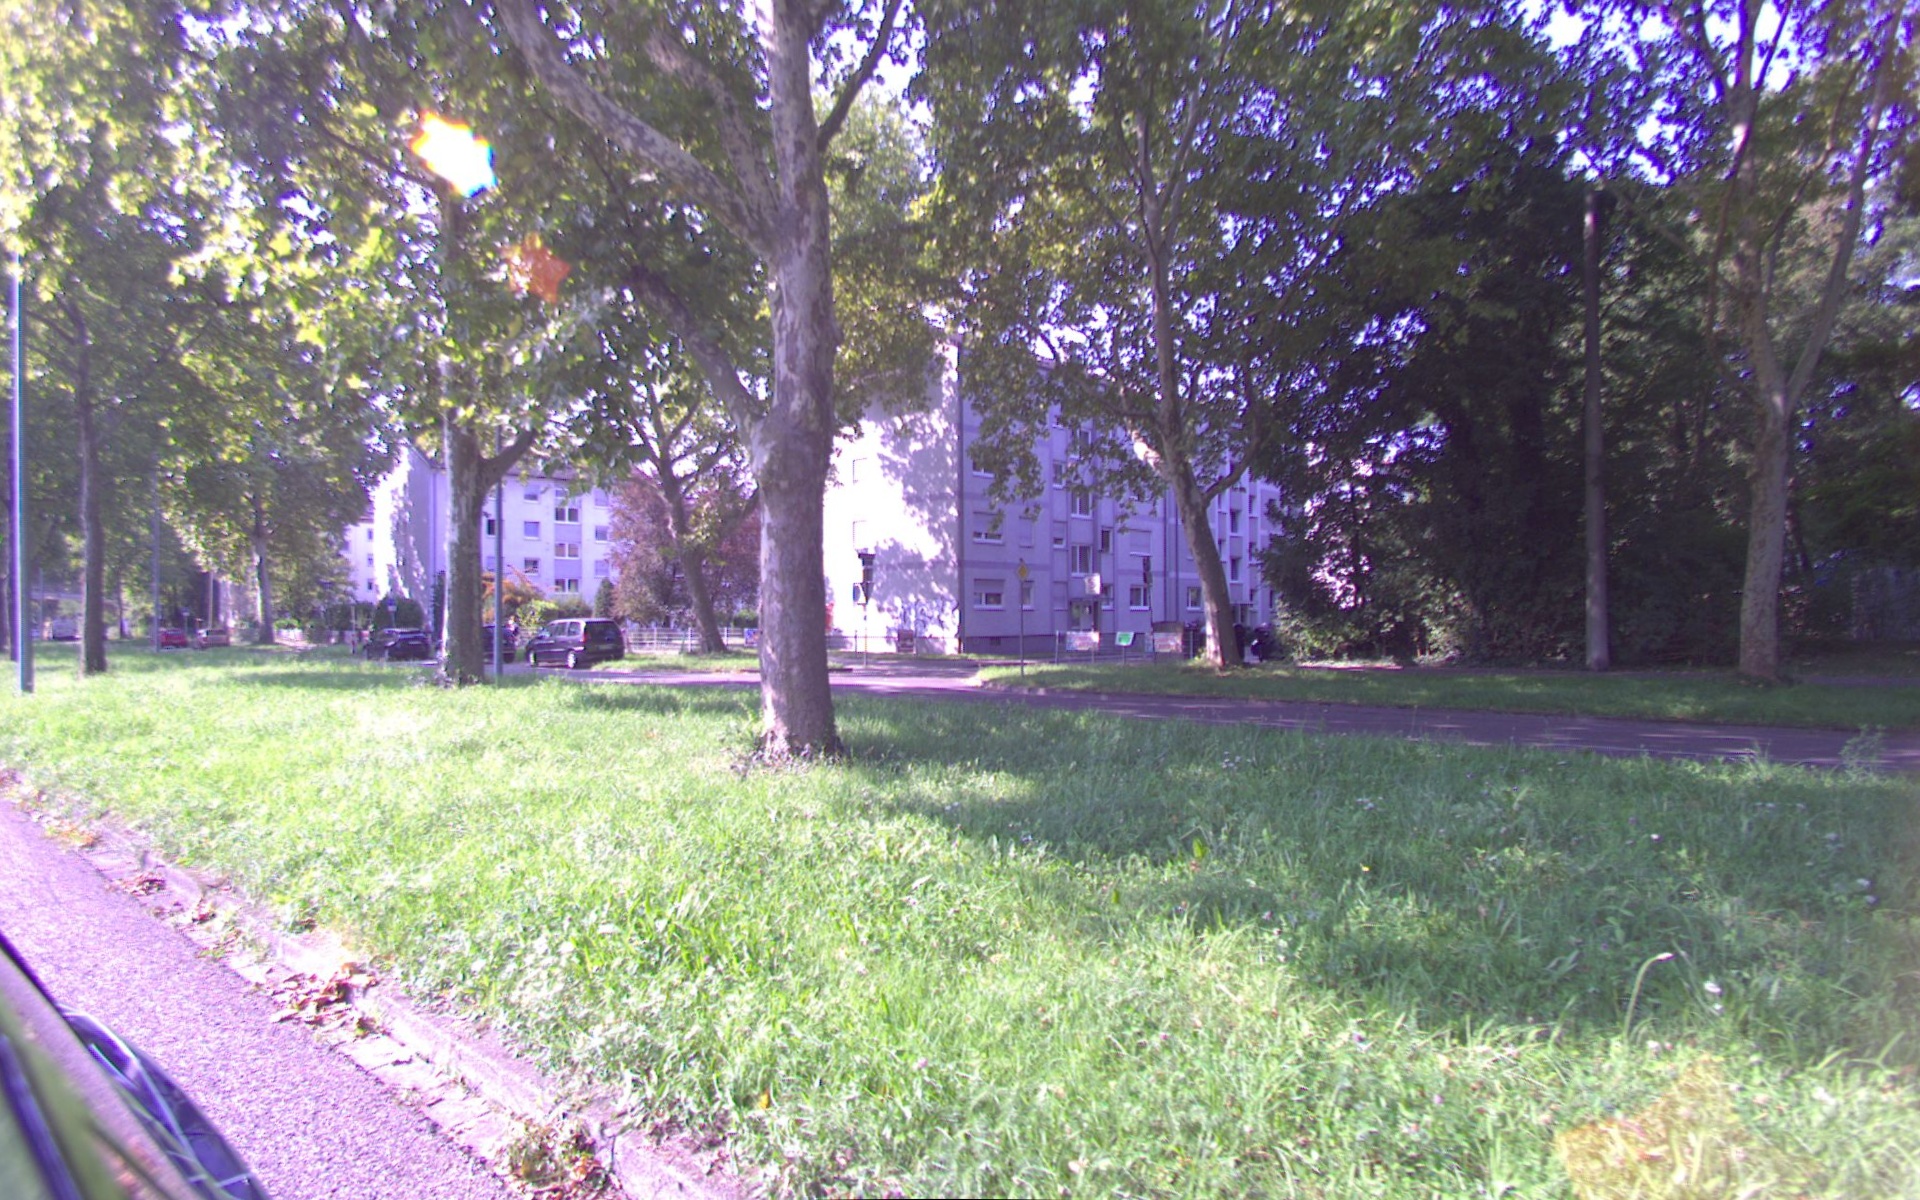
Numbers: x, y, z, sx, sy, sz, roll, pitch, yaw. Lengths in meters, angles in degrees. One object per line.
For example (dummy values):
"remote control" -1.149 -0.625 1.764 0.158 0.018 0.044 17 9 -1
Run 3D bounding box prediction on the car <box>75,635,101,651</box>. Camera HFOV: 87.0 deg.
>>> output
"car" -86.475 4.267 100.345 3.862 1.544 1.506 -1 -2 42

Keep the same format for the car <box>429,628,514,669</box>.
"car" -19.878 1.932 41.109 3.998 1.580 1.681 -2 -2 41

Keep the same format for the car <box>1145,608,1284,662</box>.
"car" 8.724 1.192 34.965 1.677 1.739 4.392 0 -1 -44

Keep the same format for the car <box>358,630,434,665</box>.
"car" -26.302 2.218 47.145 4.538 1.519 1.681 -3 -2 41

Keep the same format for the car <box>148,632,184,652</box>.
"car" -59.906 3.150 76.315 4.064 1.462 1.522 -2 -1 43

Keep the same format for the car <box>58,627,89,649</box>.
"car" -104.780 4.497 119.561 6.267 2.448 2.183 -2 1 44

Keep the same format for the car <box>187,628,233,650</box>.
"car" -50.948 2.659 68.745 4.063 1.441 1.782 -2 -1 43

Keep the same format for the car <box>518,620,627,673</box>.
"car" -14.024 1.636 36.492 4.657 1.745 1.681 -2 -1 41
